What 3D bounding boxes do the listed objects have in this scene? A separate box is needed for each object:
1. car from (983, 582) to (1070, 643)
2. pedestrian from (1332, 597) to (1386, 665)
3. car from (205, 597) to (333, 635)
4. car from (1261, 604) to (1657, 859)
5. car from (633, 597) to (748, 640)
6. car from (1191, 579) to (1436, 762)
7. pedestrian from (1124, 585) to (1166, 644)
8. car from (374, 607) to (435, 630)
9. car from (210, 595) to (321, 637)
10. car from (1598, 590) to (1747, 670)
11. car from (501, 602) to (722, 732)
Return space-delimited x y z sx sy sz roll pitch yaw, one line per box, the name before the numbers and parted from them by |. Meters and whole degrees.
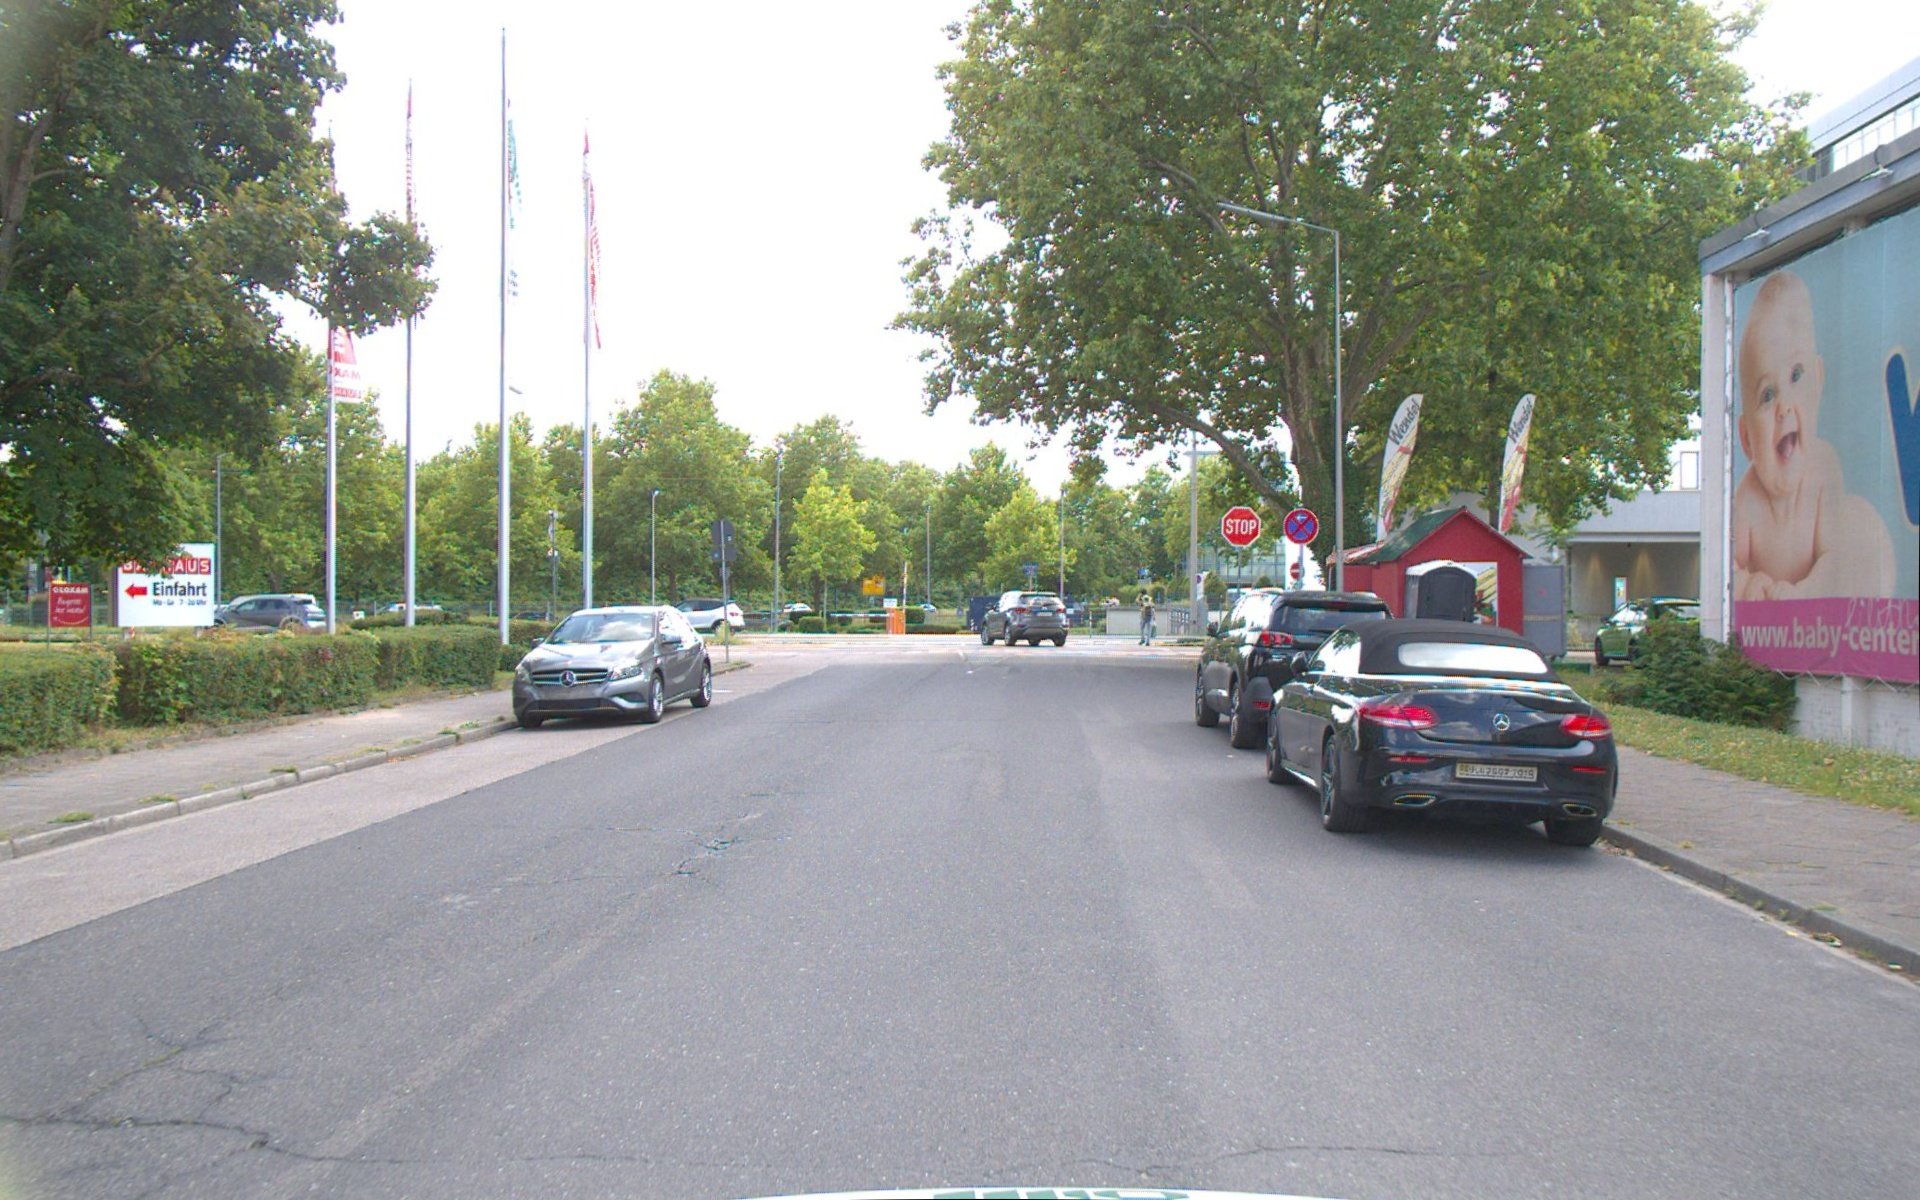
car | 2.068 0.375 52.630 1.926 1.847 4.265 0 0 -10
pedestrian | 7.975 0.606 33.072 0.992 1.337 0.965 0 0 10
car | -26.572 0.607 63.697 4.133 1.430 1.924 0 0 0
car | 3.418 0.796 12.263 1.770 1.415 4.590 3 0 4
car | -10.371 0.689 63.848 4.133 1.607 1.924 0 0 0
car | 3.764 0.673 18.427 1.771 1.694 4.641 3 0 1
pedestrian | 6.042 0.467 54.114 0.984 1.881 1.224 0 0 -15
car | -41.244 1.378 122.927 1.881 1.691 3.986 0 0 35
car | -37.193 0.844 88.638 5.178 2.250 1.797 0 -1 -1
car | 14.581 0.580 34.058 1.702 1.538 4.003 0 0 6
car | -4.431 0.798 21.704 1.674 1.444 4.333 -3 0 4
